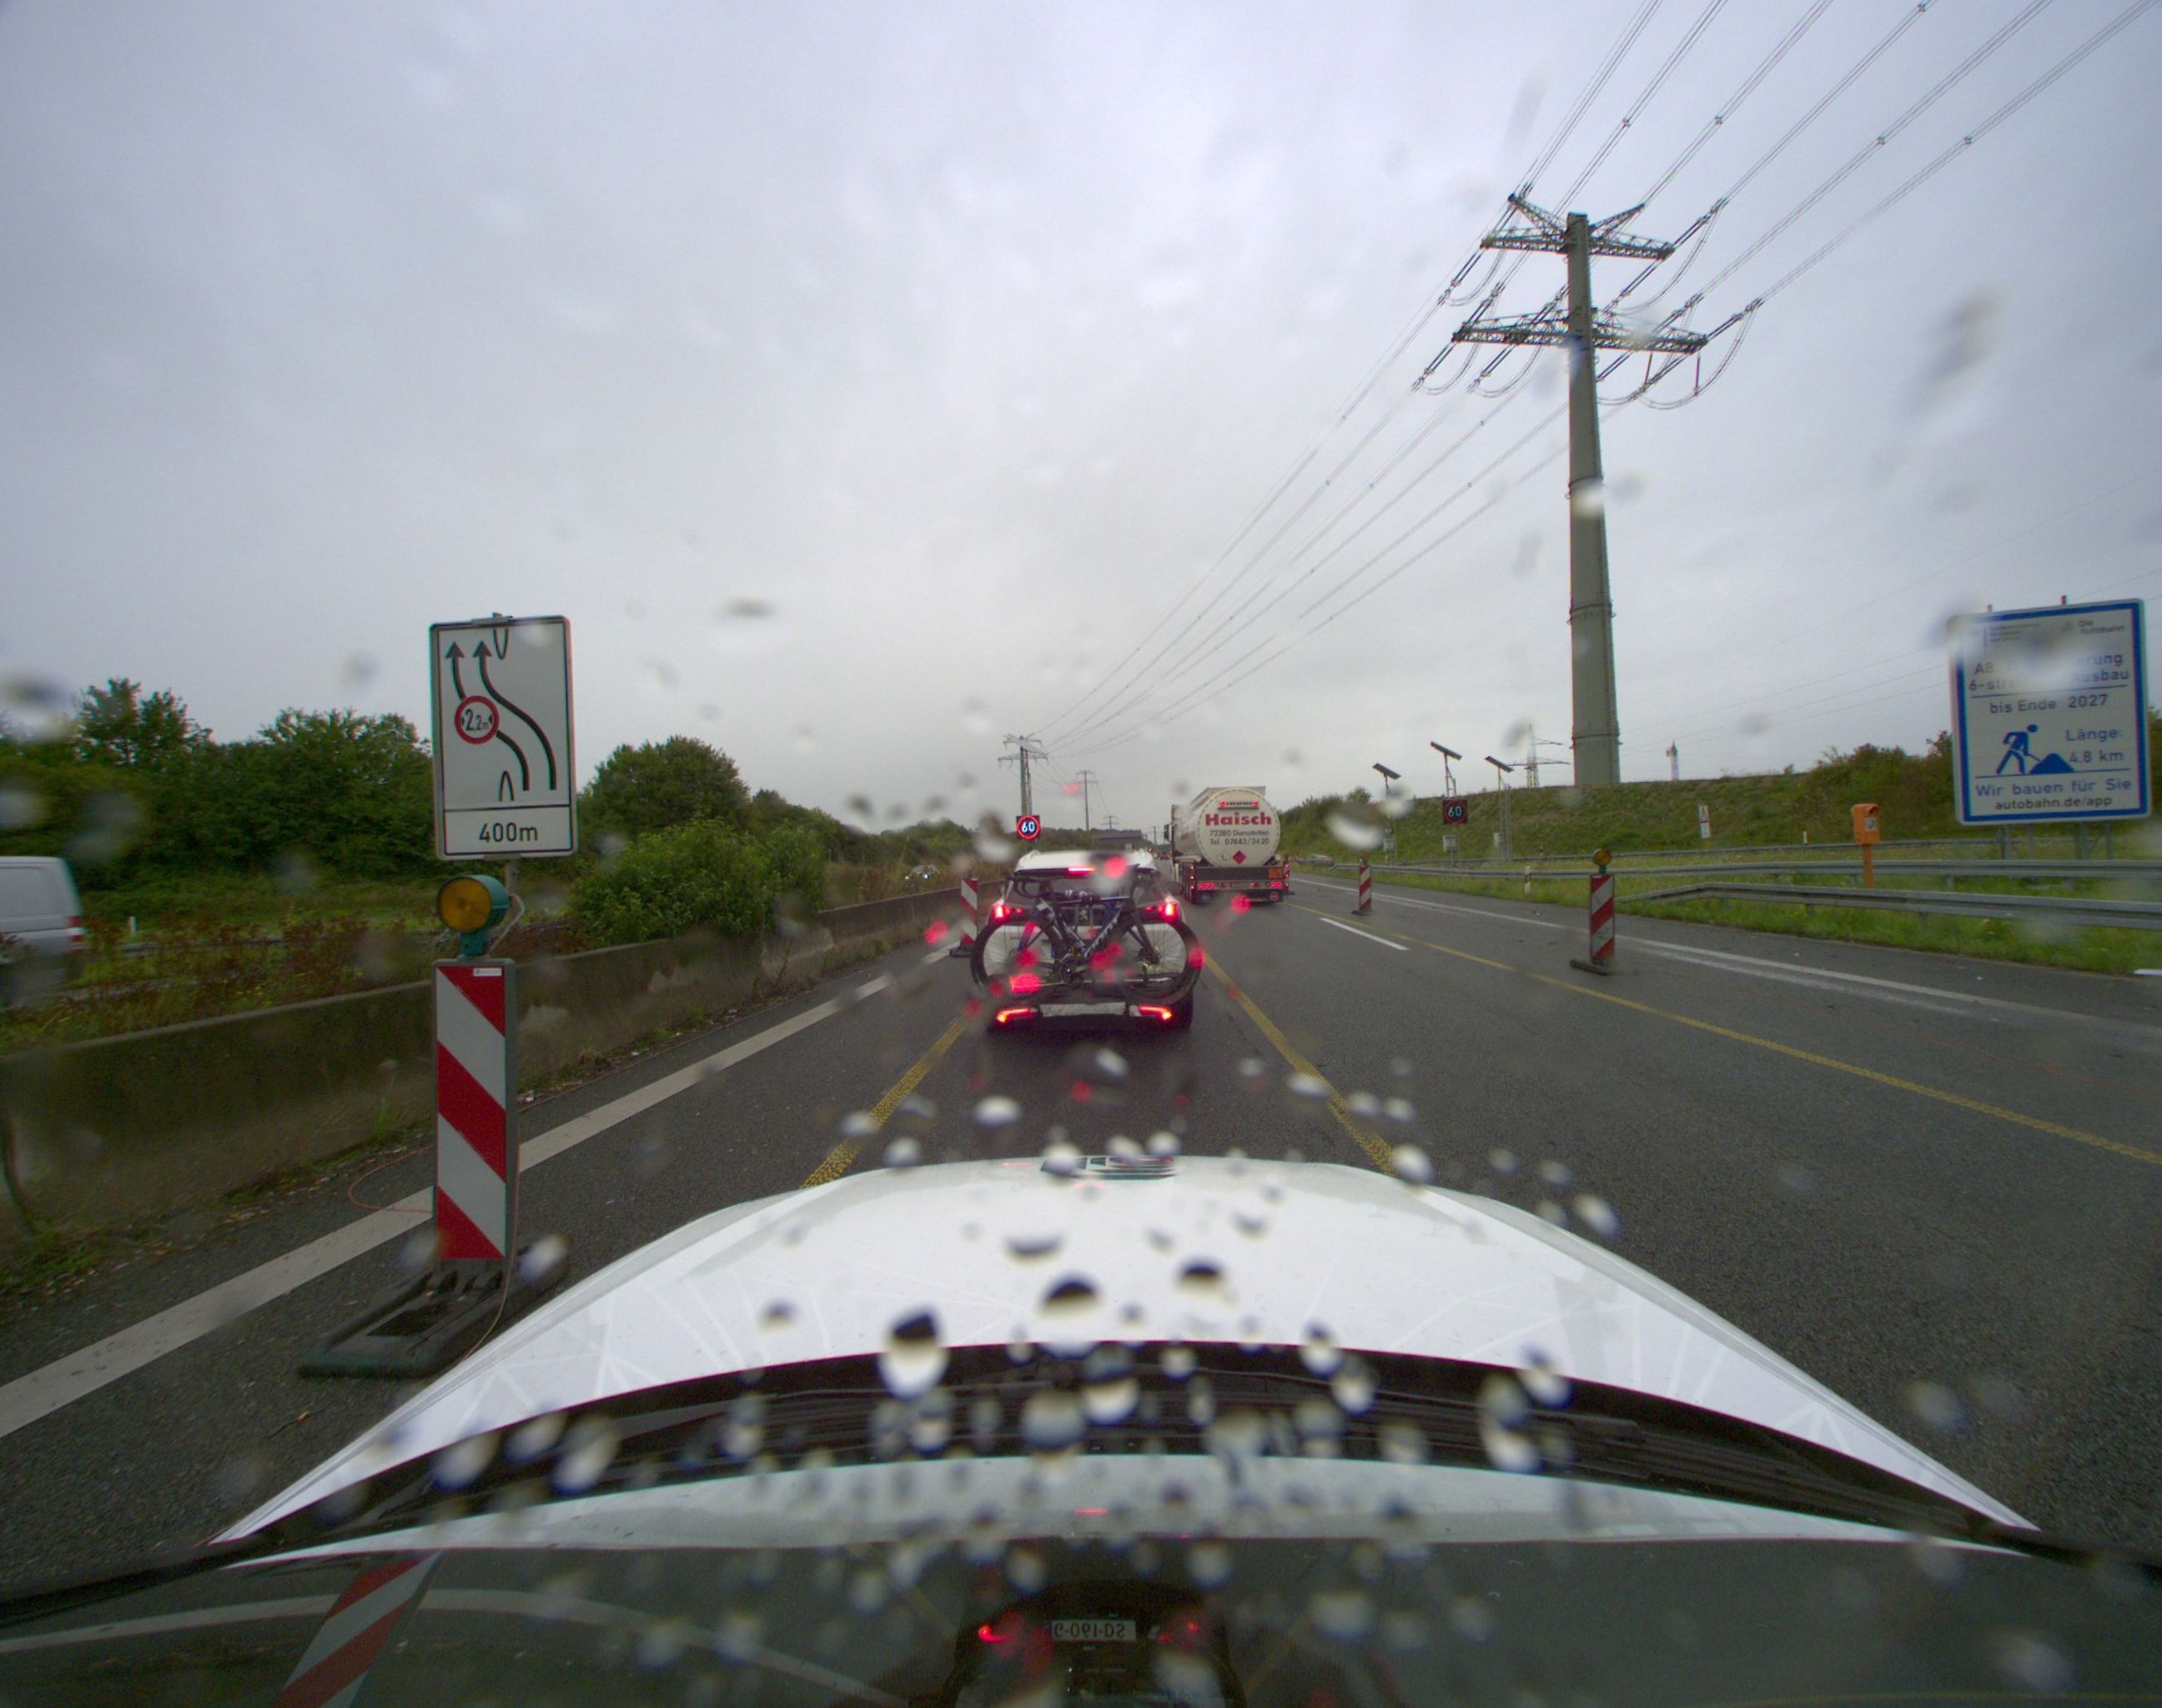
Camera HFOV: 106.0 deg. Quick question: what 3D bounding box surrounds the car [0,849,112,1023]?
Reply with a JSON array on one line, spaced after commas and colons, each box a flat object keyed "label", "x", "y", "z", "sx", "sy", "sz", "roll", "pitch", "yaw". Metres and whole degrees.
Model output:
[{"label": "car", "x": -16.463, "y": 1.210, "z": 9.789, "sx": 2.229, "sy": 2.440, "sz": 5.891, "roll": -2, "pitch": 0, "yaw": 5}]

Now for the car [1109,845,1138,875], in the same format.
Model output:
[{"label": "car", "x": 3.025, "y": 0.406, "z": 58.798, "sx": 1.986, "sy": 2.013, "sz": 4.002, "roll": -3, "pitch": 0, "yaw": 2}]

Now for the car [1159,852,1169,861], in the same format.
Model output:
[{"label": "car", "x": 18.253, "y": 0.497, "z": 179.706, "sx": 1.986, "sy": 2.014, "sz": 4.001, "roll": 0, "pitch": -1, "yaw": 2}]

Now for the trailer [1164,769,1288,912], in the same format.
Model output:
[{"label": "trailer", "x": 4.500, "y": -0.318, "z": 27.630, "sx": 2.628, "sy": 3.893, "sz": 10.547, "roll": 0, "pitch": -1, "yaw": 2}]

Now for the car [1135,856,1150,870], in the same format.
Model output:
[{"label": "car", "x": 8.741, "y": 1.284, "z": 116.609, "sx": 1.986, "sy": 2.014, "sz": 4.001, "roll": 0, "pitch": -1, "yaw": 2}]

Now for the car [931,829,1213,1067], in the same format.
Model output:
[{"label": "car", "x": 0.096, "y": 0.653, "z": 7.892, "sx": 1.919, "sy": 1.611, "sz": 4.600, "roll": -1, "pitch": 0, "yaw": 4}]

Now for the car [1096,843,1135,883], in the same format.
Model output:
[{"label": "car", "x": 1.883, "y": 0.494, "z": 45.035, "sx": 1.986, "sy": 2.013, "sz": 4.002, "roll": -3, "pitch": 0, "yaw": 2}]

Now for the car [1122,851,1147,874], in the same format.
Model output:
[{"label": "car", "x": 4.684, "y": 0.742, "z": 71.752, "sx": 1.986, "sy": 2.014, "sz": 4.001, "roll": 0, "pitch": -1, "yaw": 2}]

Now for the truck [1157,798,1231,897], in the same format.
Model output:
[{"label": "truck", "x": 4.682, "y": -0.242, "z": 34.399, "sx": 2.635, "sy": 3.891, "sz": 4.031, "roll": 0, "pitch": -1, "yaw": 2}]

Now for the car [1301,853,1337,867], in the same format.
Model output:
[{"label": "car", "x": 21.291, "y": 0.573, "z": 72.931, "sx": 1.483, "sy": 1.161, "sz": 3.893, "roll": -3, "pitch": 0, "yaw": -10}]

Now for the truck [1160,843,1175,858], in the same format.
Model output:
[{"label": "truck", "x": 23.824, "y": -0.814, "z": 225.375, "sx": 3.715, "sy": 3.822, "sz": 11.880, "roll": -2, "pitch": -1, "yaw": 4}]

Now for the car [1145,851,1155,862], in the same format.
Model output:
[{"label": "car", "x": 12.242, "y": 0.448, "z": 143.951, "sx": 1.645, "sy": 2.013, "sz": 4.007, "roll": -1, "pitch": 0, "yaw": 6}]

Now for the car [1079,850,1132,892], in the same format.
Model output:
[{"label": "car", "x": 1.005, "y": 0.656, "z": 33.125, "sx": 1.986, "sy": 1.584, "sz": 4.002, "roll": -1, "pitch": 0, "yaw": 2}]
